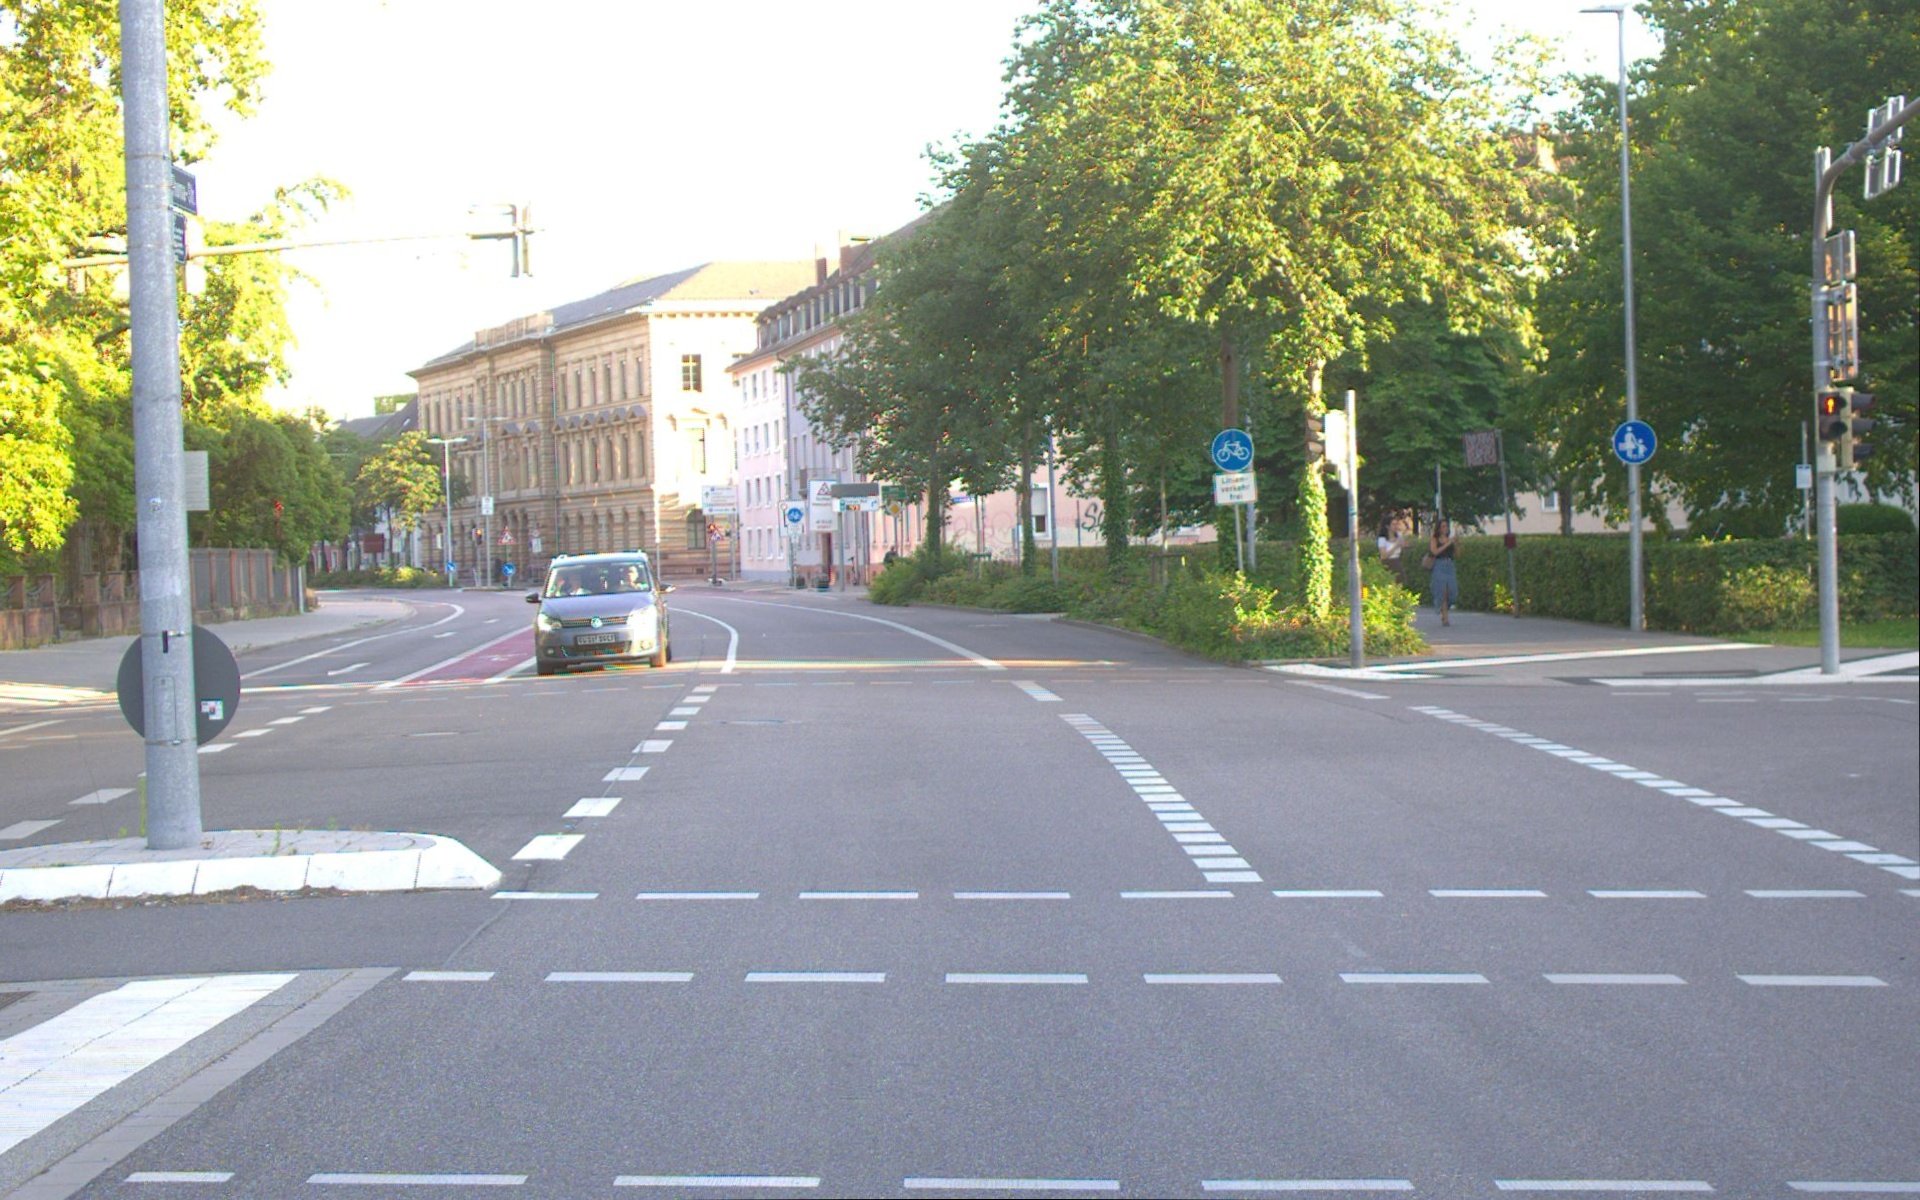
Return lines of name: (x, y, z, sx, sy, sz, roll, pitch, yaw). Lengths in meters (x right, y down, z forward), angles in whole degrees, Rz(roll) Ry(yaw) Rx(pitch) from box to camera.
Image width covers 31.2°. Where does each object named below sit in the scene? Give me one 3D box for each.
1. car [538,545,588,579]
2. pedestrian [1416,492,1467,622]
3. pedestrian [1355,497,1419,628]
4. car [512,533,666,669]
car: (-19.615, -1.887, 169.732, 1.819, 1.583, 4.001, -3, 1, -14)
pedestrian: (7.500, -0.675, 53.574, 0.635, 2.007, 0.720, -1, 1, -4)
pedestrian: (6.587, -0.577, 53.056, 0.870, 2.007, 0.722, 0, 1, -1)
car: (-5.158, -0.020, 48.290, 1.849, 1.714, 4.296, -3, 1, -3)
